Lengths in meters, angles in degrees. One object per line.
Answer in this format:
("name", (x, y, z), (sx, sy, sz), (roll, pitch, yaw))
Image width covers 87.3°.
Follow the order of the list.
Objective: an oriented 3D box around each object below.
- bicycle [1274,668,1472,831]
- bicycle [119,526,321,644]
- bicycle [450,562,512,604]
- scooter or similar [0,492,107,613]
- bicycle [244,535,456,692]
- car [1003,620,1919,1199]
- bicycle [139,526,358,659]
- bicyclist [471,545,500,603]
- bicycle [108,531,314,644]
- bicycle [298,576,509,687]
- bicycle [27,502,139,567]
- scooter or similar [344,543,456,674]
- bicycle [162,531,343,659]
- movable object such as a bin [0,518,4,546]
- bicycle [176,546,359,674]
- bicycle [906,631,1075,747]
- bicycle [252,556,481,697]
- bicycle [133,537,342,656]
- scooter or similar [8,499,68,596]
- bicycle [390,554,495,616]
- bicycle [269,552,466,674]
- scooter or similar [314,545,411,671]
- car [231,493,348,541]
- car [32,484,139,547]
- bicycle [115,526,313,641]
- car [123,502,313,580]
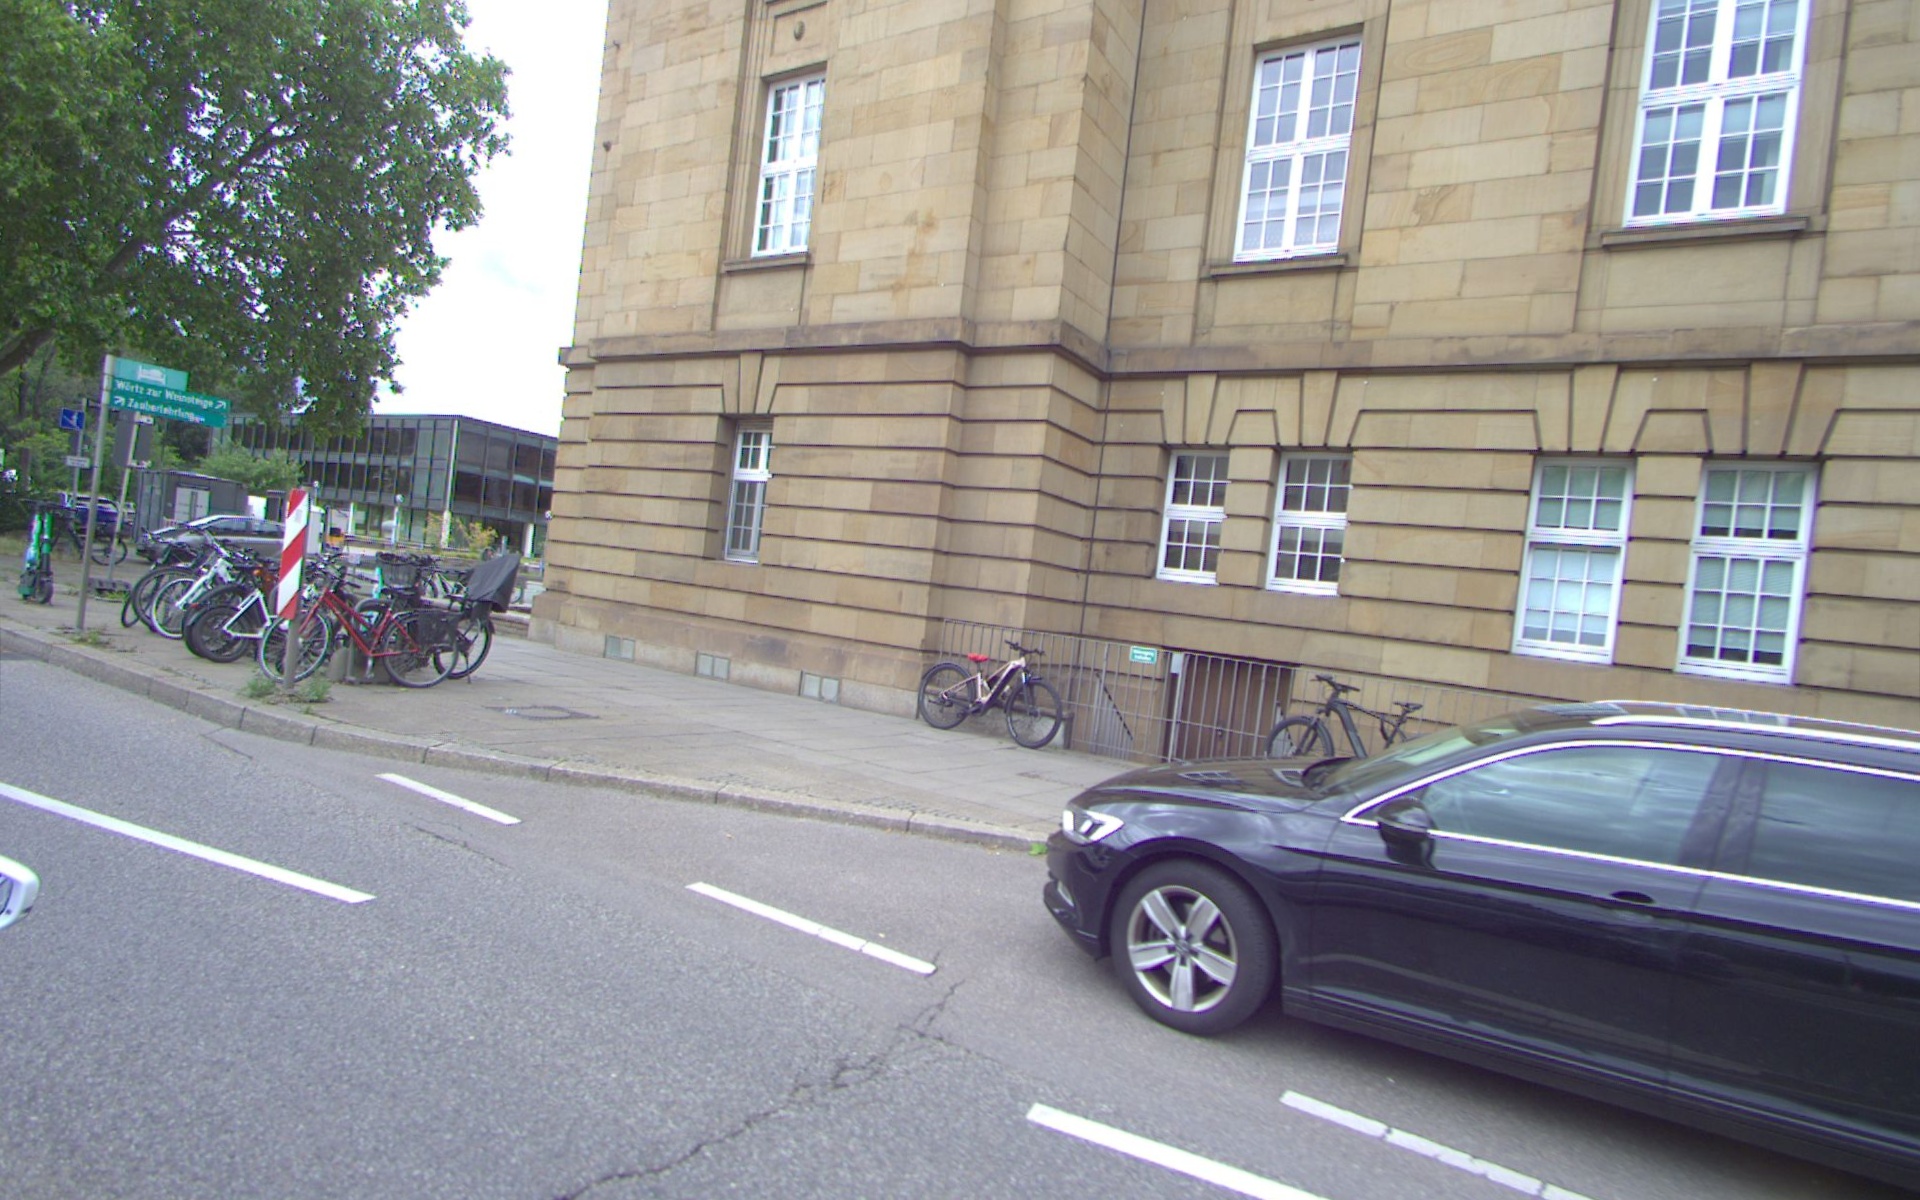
("bicycle", (3.698, 1.315, 9.090), (1.514, 1.196, 0.276), (6, -1, 35))
("bicycle", (-8.396, -0.145, 11.474), (0.376, 1.104, 1.725), (7, -1, 45))
("bicycle", (-14.854, -0.505, 31.221), (0.435, 1.145, 1.754), (7, 0, 25))
("scooter or similar", (-11.553, -0.609, 12.666), (1.390, 1.347, 0.727), (7, -1, 32))
("bicycle", (-5.727, 0.150, 9.493), (1.536, 1.271, 0.537), (9, -1, -39))
("car", (2.513, 1.061, 3.914), (4.252, 1.506, 1.788), (7, 3, 30))
("bicycle", (-7.710, -0.045, 10.996), (0.594, 1.223, 1.762), (7, -1, 29))
("bicyclist", (-14.926, -0.811, 31.644), (0.466, 1.770, 0.437), (7, 1, 25))
("bicycle", (-9.089, -0.133, 12.262), (0.657, 1.104, 1.854), (7, -2, 45))
("bicycle", (-5.591, 0.334, 10.170), (1.720, 0.928, 0.607), (7, 0, -39))
("bicycle", (-20.068, -1.480, 23.060), (0.484, 1.235, 1.786), (7, 0, 35))
("scooter or similar", (-6.227, 0.088, 11.167), (1.131, 1.293, 0.562), (7, -1, 39))
("bicycle", (-7.044, -0.014, 10.109), (0.400, 1.143, 1.616), (7, -1, 6))
("movable object such as a bin", (-23.081, -1.687, 23.275), (0.719, 0.659, 1.298), (5, -3, 41))
("bicycle", (-6.947, 0.130, 10.196), (0.461, 1.143, 1.616), (7, -1, 7))
("bicycle", (0.304, 0.956, 11.180), (1.930, 1.010, 0.240), (6, 0, 32))
("bicycle", (-5.410, 0.260, 9.228), (1.655, 1.087, 0.579), (8, -1, -39))
("bicycle", (-8.064, -0.011, 11.290), (0.566, 1.104, 1.727), (7, -1, 41))
("scooter or similar", (-13.329, -0.781, 14.530), (1.415, 1.295, 0.430), (6, -1, 44))
("bicycle", (-11.131, -0.303, 21.706), (0.382, 1.139, 2.013), (7, -1, 32))
("bicycle", (-5.961, 0.159, 10.188), (0.430, 1.040, 1.561), (7, -1, 43))
("scooter or similar", (-6.518, 0.072, 10.951), (1.294, 1.238, 0.425), (6, -2, 43))
("car", (-46.160, -5.653, 69.415), (2.363, 2.288, 6.111), (7, -1, 34))
("car", (-30.542, -2.959, 35.098), (3.961, 1.571, 1.762), (9, 1, 34))
("bicycle", (-8.699, -0.167, 11.792), (0.420, 1.104, 1.725), (7, -1, 45))
("car", (-20.638, -1.606, 28.138), (1.652, 1.587, 3.840), (7, -1, 33))
